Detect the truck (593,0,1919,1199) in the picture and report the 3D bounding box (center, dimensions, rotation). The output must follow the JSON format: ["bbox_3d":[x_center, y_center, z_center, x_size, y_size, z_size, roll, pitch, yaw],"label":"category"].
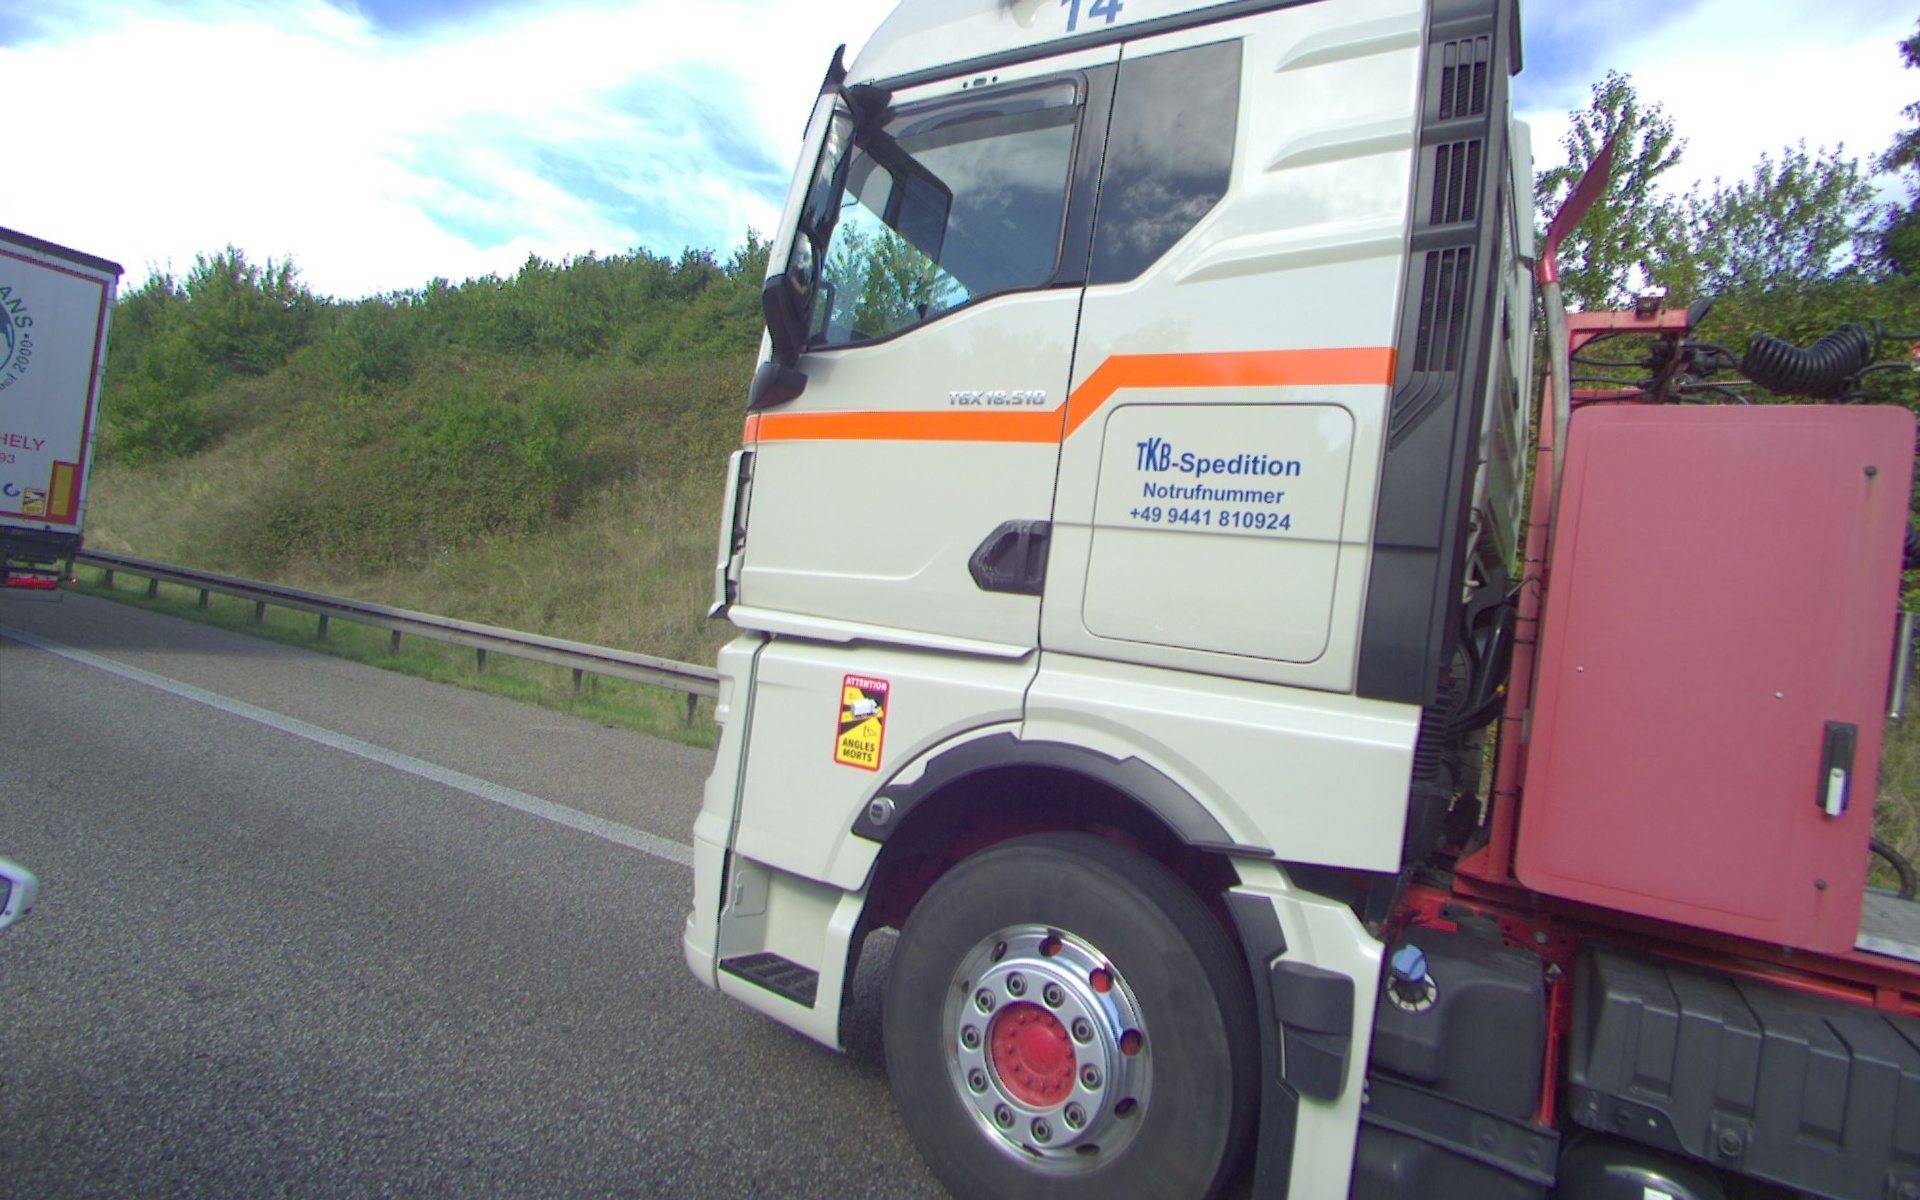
[{"bbox_3d":[2.285,-0.241,2.762,5.806,4.091,2.807,7,-1,32],"label":"truck"}]

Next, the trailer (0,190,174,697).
[{"bbox_3d":[-14.842,-2.146,12.535,13.066,4.715,3.008,7,-1,31],"label":"trailer"}]
